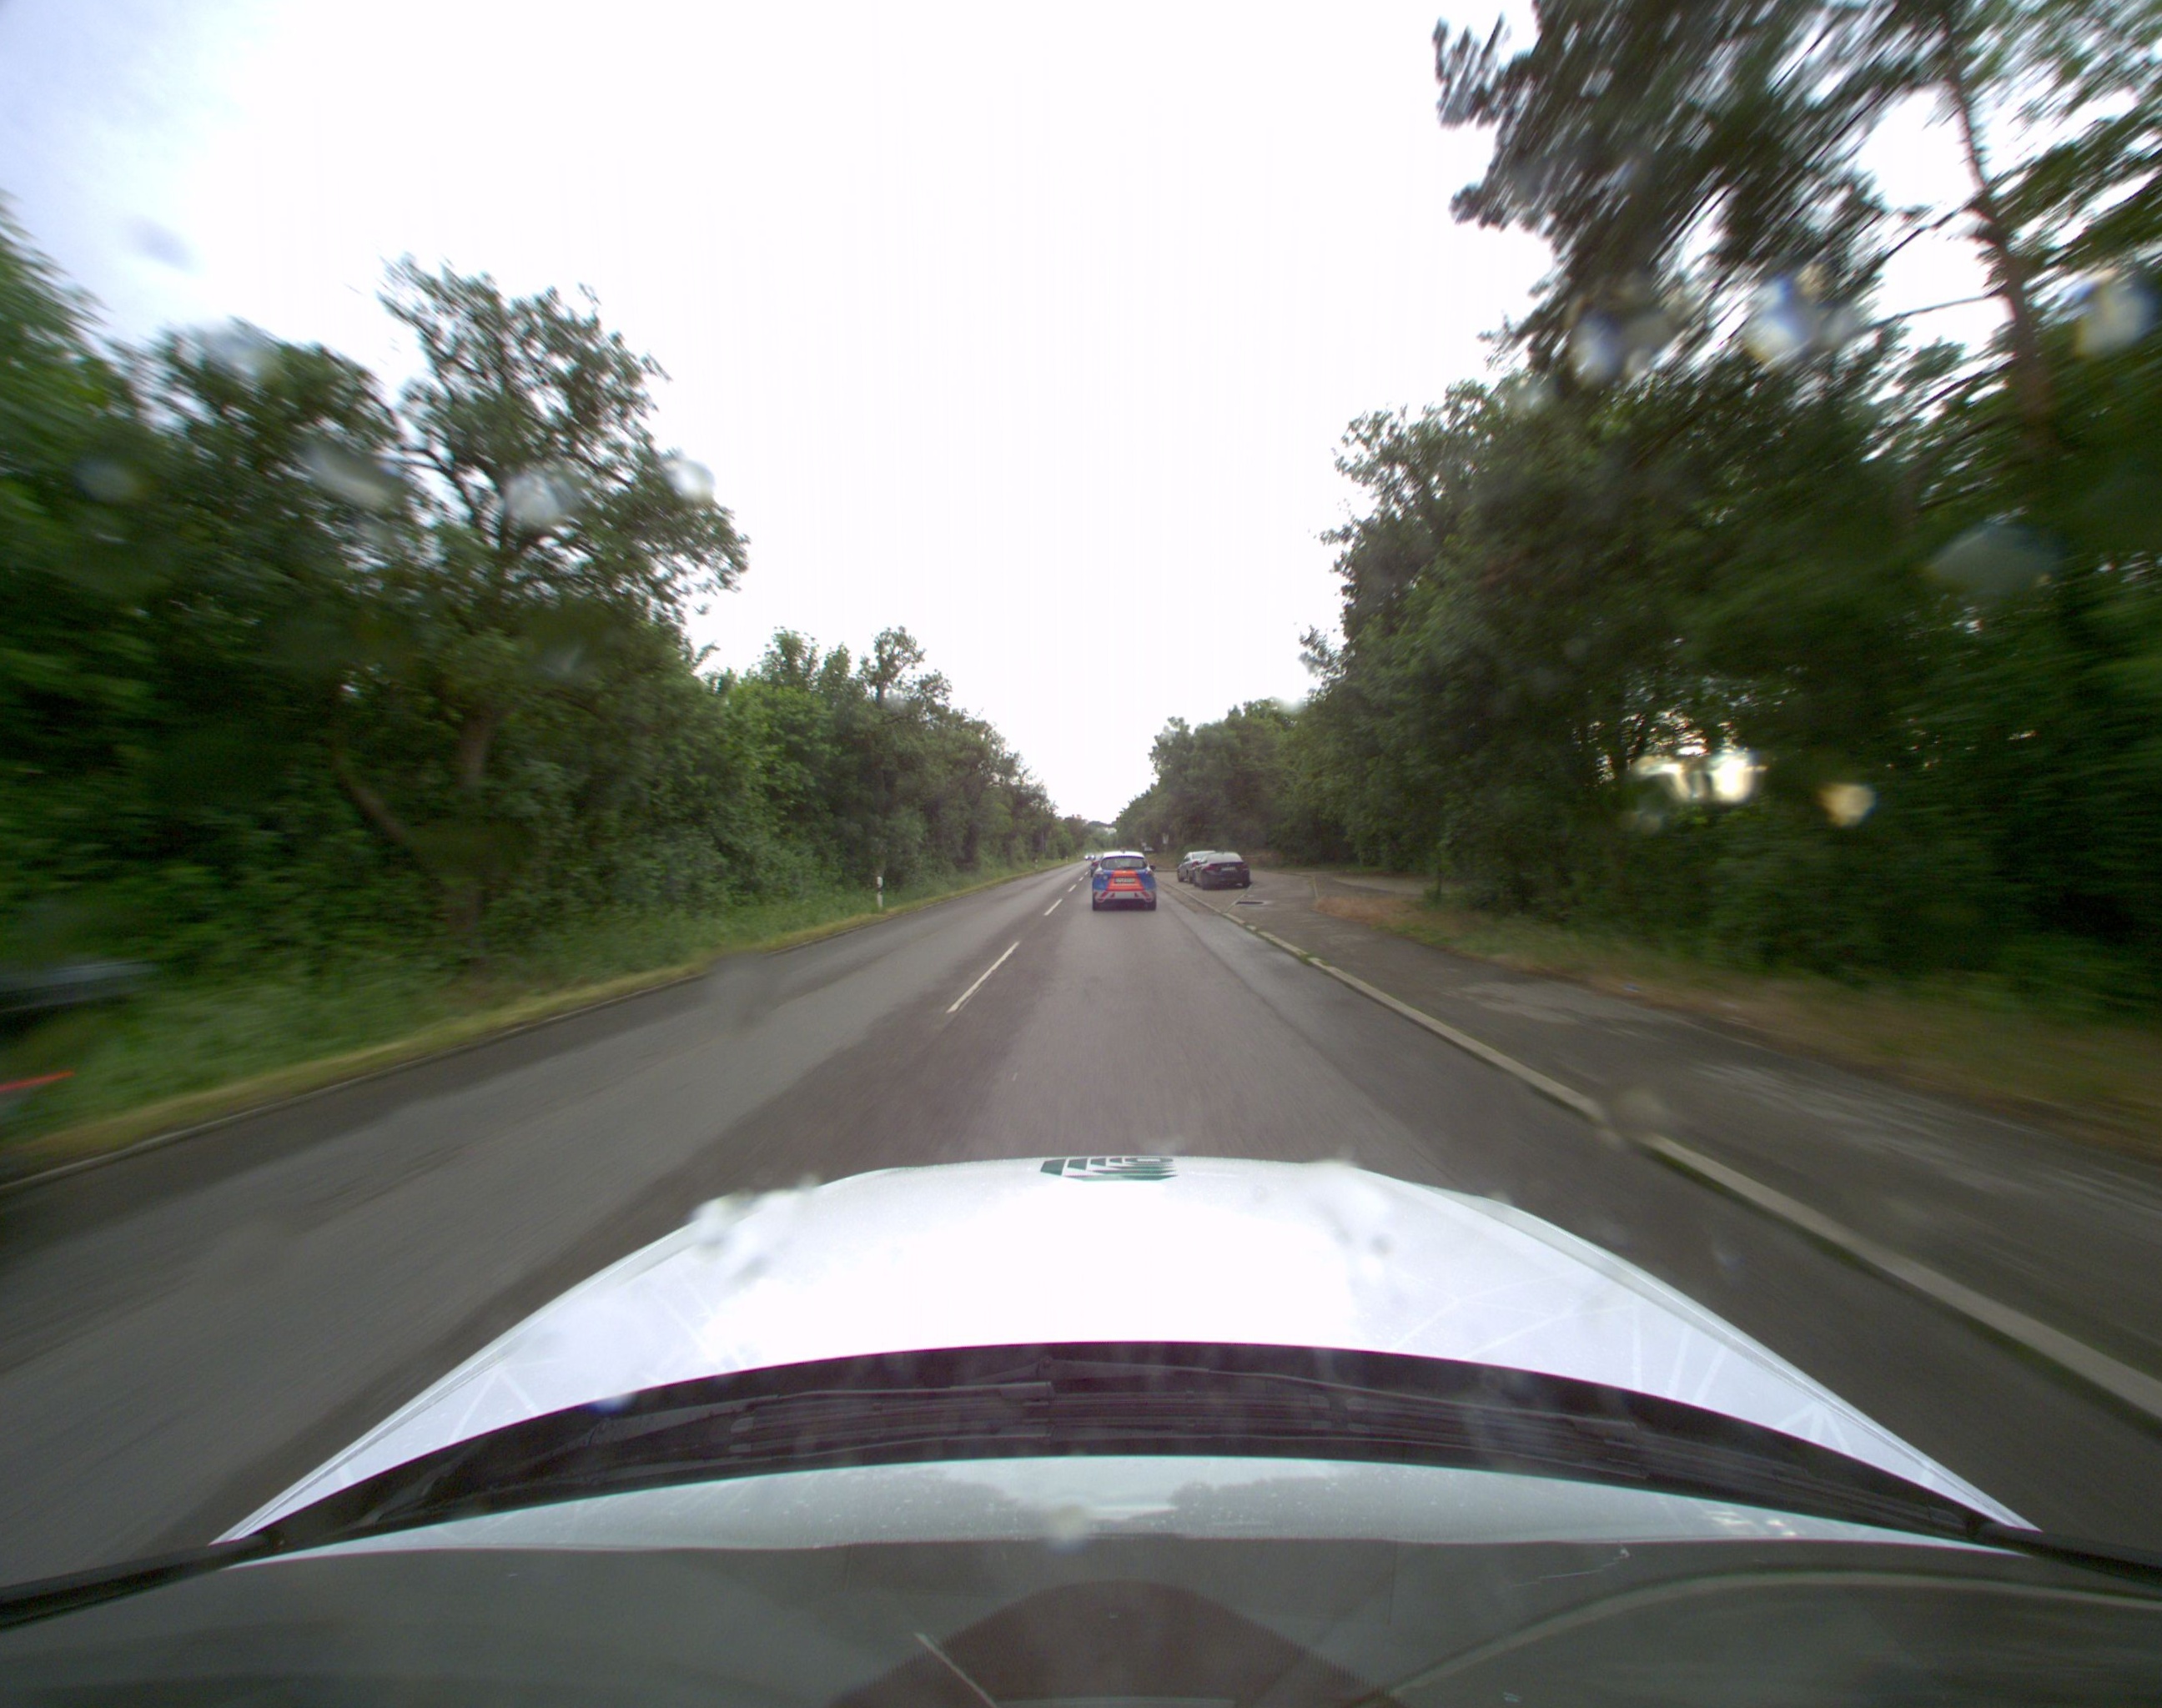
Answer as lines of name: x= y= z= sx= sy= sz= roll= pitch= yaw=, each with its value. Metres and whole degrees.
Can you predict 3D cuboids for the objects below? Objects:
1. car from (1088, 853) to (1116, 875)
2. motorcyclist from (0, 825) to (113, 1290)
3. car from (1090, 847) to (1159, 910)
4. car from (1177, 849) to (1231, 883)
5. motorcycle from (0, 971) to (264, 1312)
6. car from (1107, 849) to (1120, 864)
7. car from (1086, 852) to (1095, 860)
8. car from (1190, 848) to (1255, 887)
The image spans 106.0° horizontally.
car: x=1.353 y=0.594 z=50.298 sx=1.592 sy=1.287 sz=3.478 roll=-2 pitch=0 yaw=3
motorcyclist: x=-4.463 y=0.768 z=2.847 sx=0.865 sy=1.722 sz=1.036 roll=-2 pitch=0 yaw=1
car: x=1.184 y=0.614 z=22.819 sx=1.745 sy=1.555 sz=3.794 roll=-1 pitch=1 yaw=2
car: x=5.682 y=0.516 z=38.099 sx=1.986 sy=1.441 sz=4.068 roll=-1 pitch=0 yaw=1
motorcycle: x=-4.459 y=1.151 z=2.777 sx=0.865 sy=1.126 sz=2.396 roll=-2 pitch=0 yaw=1
car: x=4.396 y=0.300 z=110.752 sx=1.737 sy=1.882 sz=4.001 roll=-1 pitch=0 yaw=1
car: x=1.940 y=0.395 z=166.197 sx=1.878 sy=1.387 sz=4.000 roll=-1 pitch=0 yaw=0
car: x=5.522 y=0.497 z=32.260 sx=1.985 sy=1.376 sz=4.003 roll=-2 pitch=0 yaw=3
